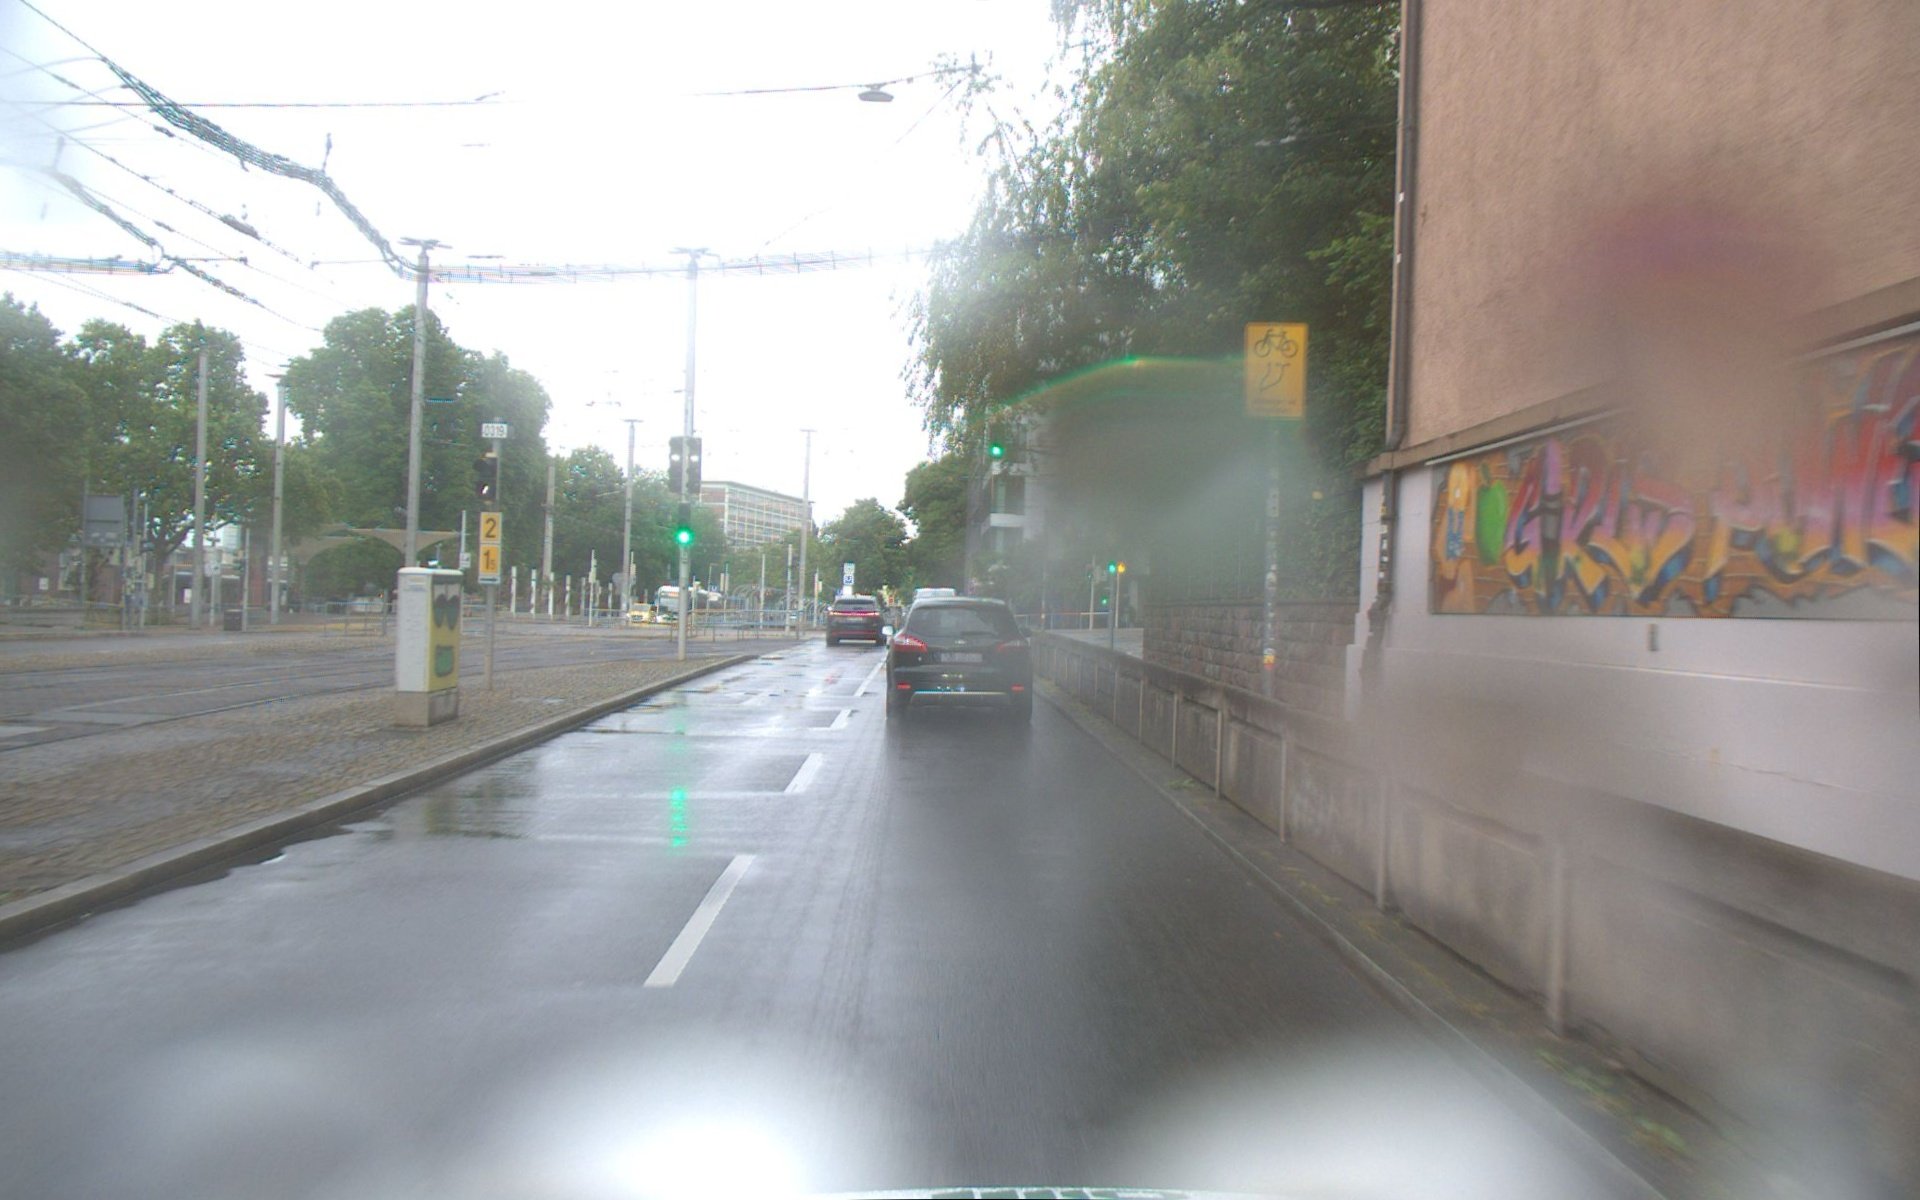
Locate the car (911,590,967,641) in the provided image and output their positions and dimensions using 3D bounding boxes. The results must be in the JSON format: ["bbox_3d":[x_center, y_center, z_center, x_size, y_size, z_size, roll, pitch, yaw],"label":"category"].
[{"bbox_3d":[-0.783,0.572,64.110,1.994,1.872,4.392,2,0,1],"label":"car"}]

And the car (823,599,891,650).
[{"bbox_3d":[-3.299,0.742,52.531,2.057,1.532,4.727,0,0,-4],"label":"car"}]

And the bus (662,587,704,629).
[{"bbox_3d":[-23.147,0.670,138.644,3.019,3.358,12.501,0,0,-7],"label":"bus"}]

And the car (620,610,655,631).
[{"bbox_3d":[-26.088,1.644,134.043,1.953,1.674,4.536,0,0,0],"label":"car"}]

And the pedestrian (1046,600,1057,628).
[{"bbox_3d":[5.346,0.824,96.692,0.530,1.590,0.521,0,-1,19],"label":"pedestrian"}]

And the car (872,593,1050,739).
[{"bbox_3d":[-0.019,0.756,21.148,1.994,1.612,4.391,2,0,-1],"label":"car"}]
